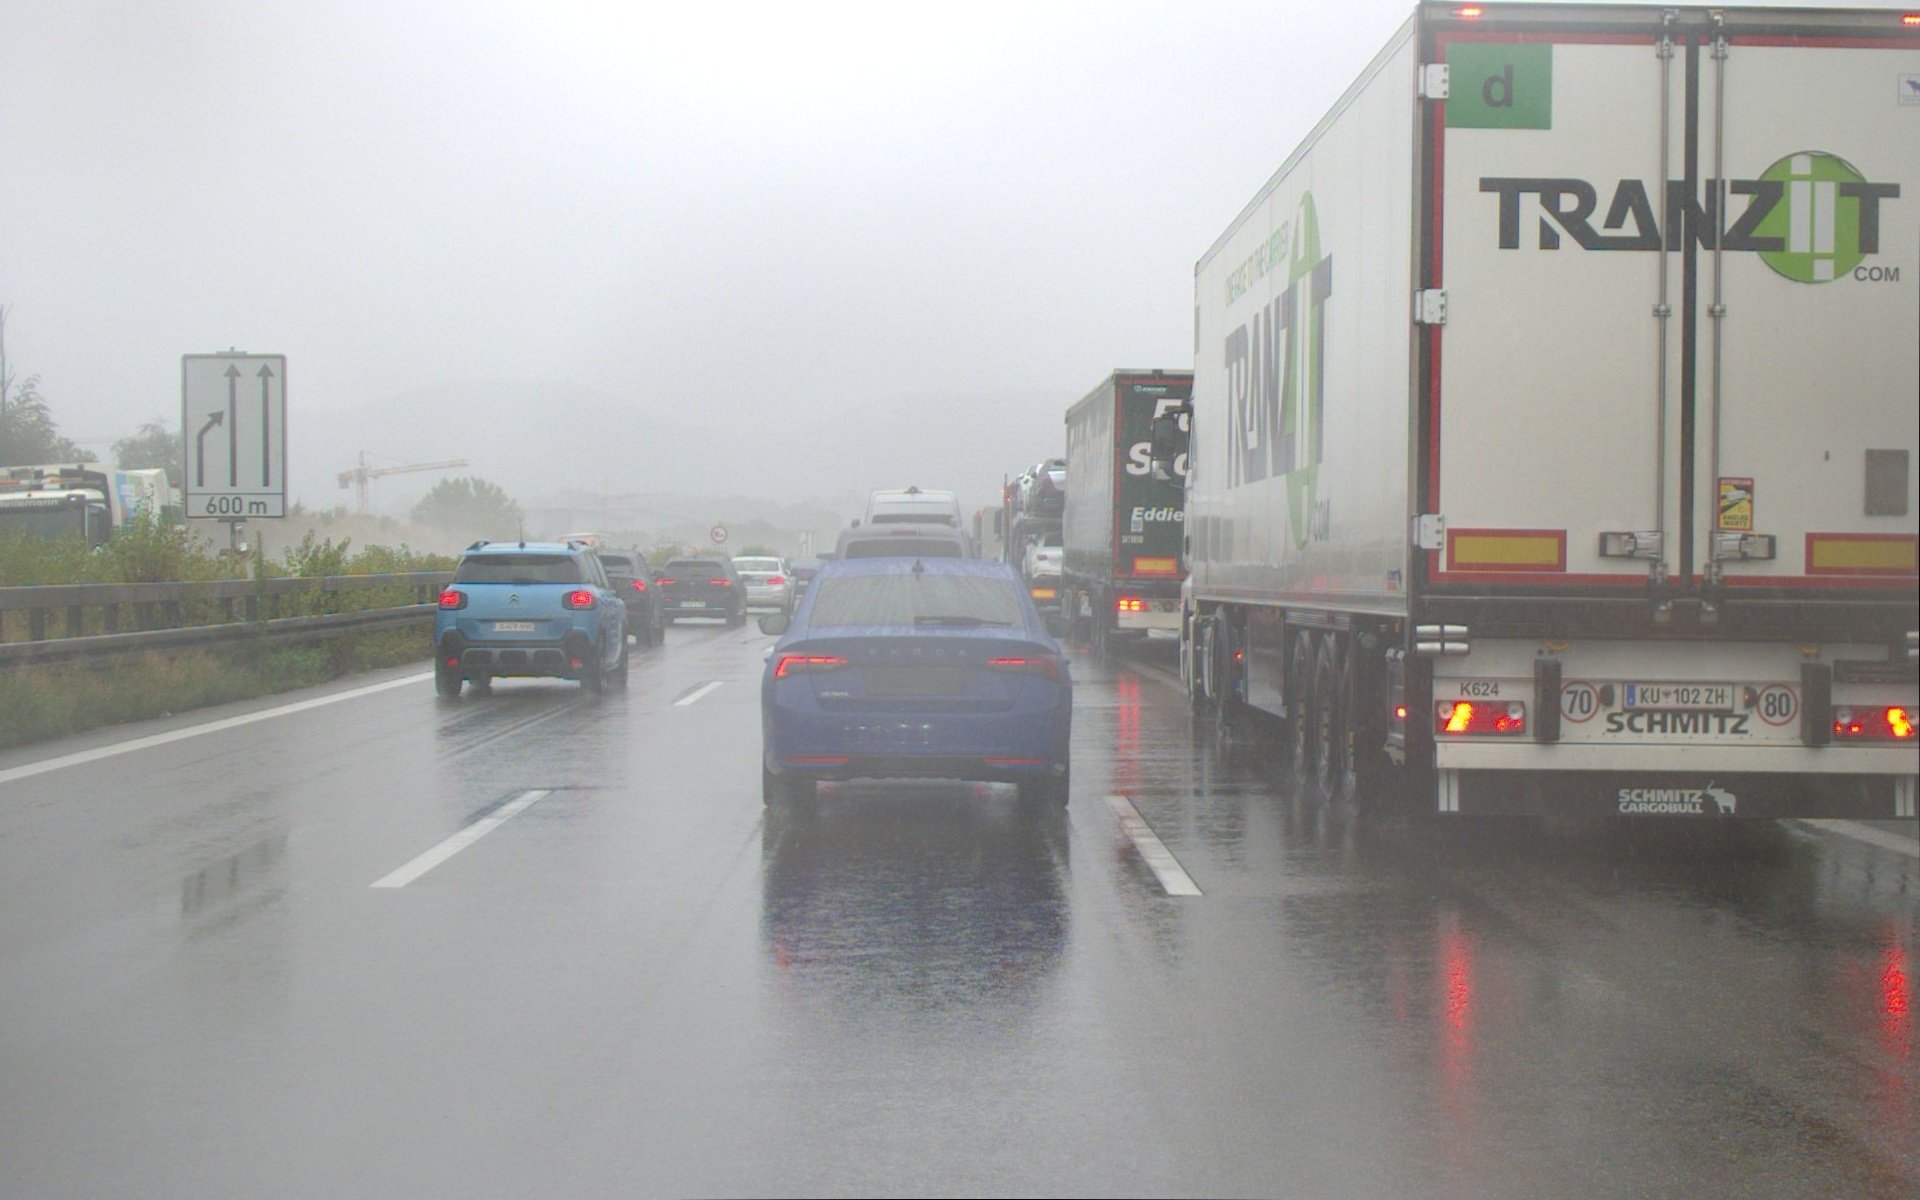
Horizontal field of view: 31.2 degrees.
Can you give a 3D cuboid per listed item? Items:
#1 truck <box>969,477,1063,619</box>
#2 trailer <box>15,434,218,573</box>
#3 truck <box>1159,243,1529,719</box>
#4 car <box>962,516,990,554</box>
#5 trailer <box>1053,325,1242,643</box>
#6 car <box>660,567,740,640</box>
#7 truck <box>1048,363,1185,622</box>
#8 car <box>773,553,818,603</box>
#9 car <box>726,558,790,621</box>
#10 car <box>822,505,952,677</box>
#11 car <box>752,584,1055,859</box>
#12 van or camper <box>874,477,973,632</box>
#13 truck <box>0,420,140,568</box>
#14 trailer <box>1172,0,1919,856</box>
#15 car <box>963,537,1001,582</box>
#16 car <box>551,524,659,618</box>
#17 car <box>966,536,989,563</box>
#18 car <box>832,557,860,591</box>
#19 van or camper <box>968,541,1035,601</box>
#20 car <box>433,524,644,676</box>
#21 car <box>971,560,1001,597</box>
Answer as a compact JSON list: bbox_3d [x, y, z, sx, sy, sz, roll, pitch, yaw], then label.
[{"bbox_3d":[1.374,-1.362,87.072,1.993,3.410,8.033,0,1,-2],"label":"truck"},{"bbox_3d":[-18.128,-2.014,74.333,2.481,2.710,7.323,-2,0,0],"label":"trailer"},{"bbox_3d":[3.219,-1.002,30.006,2.630,3.814,4.791,0,1,-1],"label":"truck"},{"bbox_3d":[0.791,-3.265,173.087,1.335,1.883,3.040,-1,1,-1],"label":"car"},{"bbox_3d":[2.618,-1.640,50.918,2.047,4.162,11.449,0,1,-1],"label":"trailer"},{"bbox_3d":[-5.346,0.054,70.974,1.439,1.415,3.322,0,1,-1],"label":"car"},{"bbox_3d":[2.568,-1.771,57.406,2.047,4.178,4.000,0,1,-1],"label":"truck"},{"bbox_3d":[-5.924,-0.805,123.926,1.448,1.777,3.409,1,1,-1],"label":"car"},{"bbox_3d":[-5.044,-0.283,86.063,1.439,1.528,3.322,0,1,-1],"label":"car"},{"bbox_3d":[-0.771,-0.127,37.232,1.336,1.773,3.322,0,1,-1],"label":"car"},{"bbox_3d":[-0.298,0.645,20.569,1.635,1.440,4.000,0,1,0],"label":"car"},{"bbox_3d":[-0.684,-0.866,64.565,1.797,2.797,4.768,0,1,-1],"label":"van or camper"},{"bbox_3d":[-18.160,-2.059,68.495,2.481,2.710,4.528,-2,0,0],"label":"truck"},{"bbox_3d":[3.285,-0.954,23.360,2.630,3.999,14.630,0,1,-1],"label":"trailer"},{"bbox_3d":[0.884,-1.615,138.073,1.448,1.777,3.409,1,1,-1],"label":"car"},{"bbox_3d":[-5.530,-0.472,53.858,1.359,1.426,3.364,0,1,0],"label":"car"},{"bbox_3d":[1.177,-3.333,227.472,1.448,1.777,3.409,1,1,-1],"label":"car"},{"bbox_3d":[-6.176,-1.410,186.658,1.448,1.777,3.409,1,1,-1],"label":"car"},{"bbox_3d":[1.135,-0.840,96.664,1.771,1.619,4.484,0,1,-1],"label":"van or camper"},{"bbox_3d":[-4.424,-0.030,36.597,1.721,1.518,4.000,0,1,0],"label":"car"},{"bbox_3d":[1.134,-0.954,149.670,1.248,1.507,3.108,-1,2,-1],"label":"car"}]
